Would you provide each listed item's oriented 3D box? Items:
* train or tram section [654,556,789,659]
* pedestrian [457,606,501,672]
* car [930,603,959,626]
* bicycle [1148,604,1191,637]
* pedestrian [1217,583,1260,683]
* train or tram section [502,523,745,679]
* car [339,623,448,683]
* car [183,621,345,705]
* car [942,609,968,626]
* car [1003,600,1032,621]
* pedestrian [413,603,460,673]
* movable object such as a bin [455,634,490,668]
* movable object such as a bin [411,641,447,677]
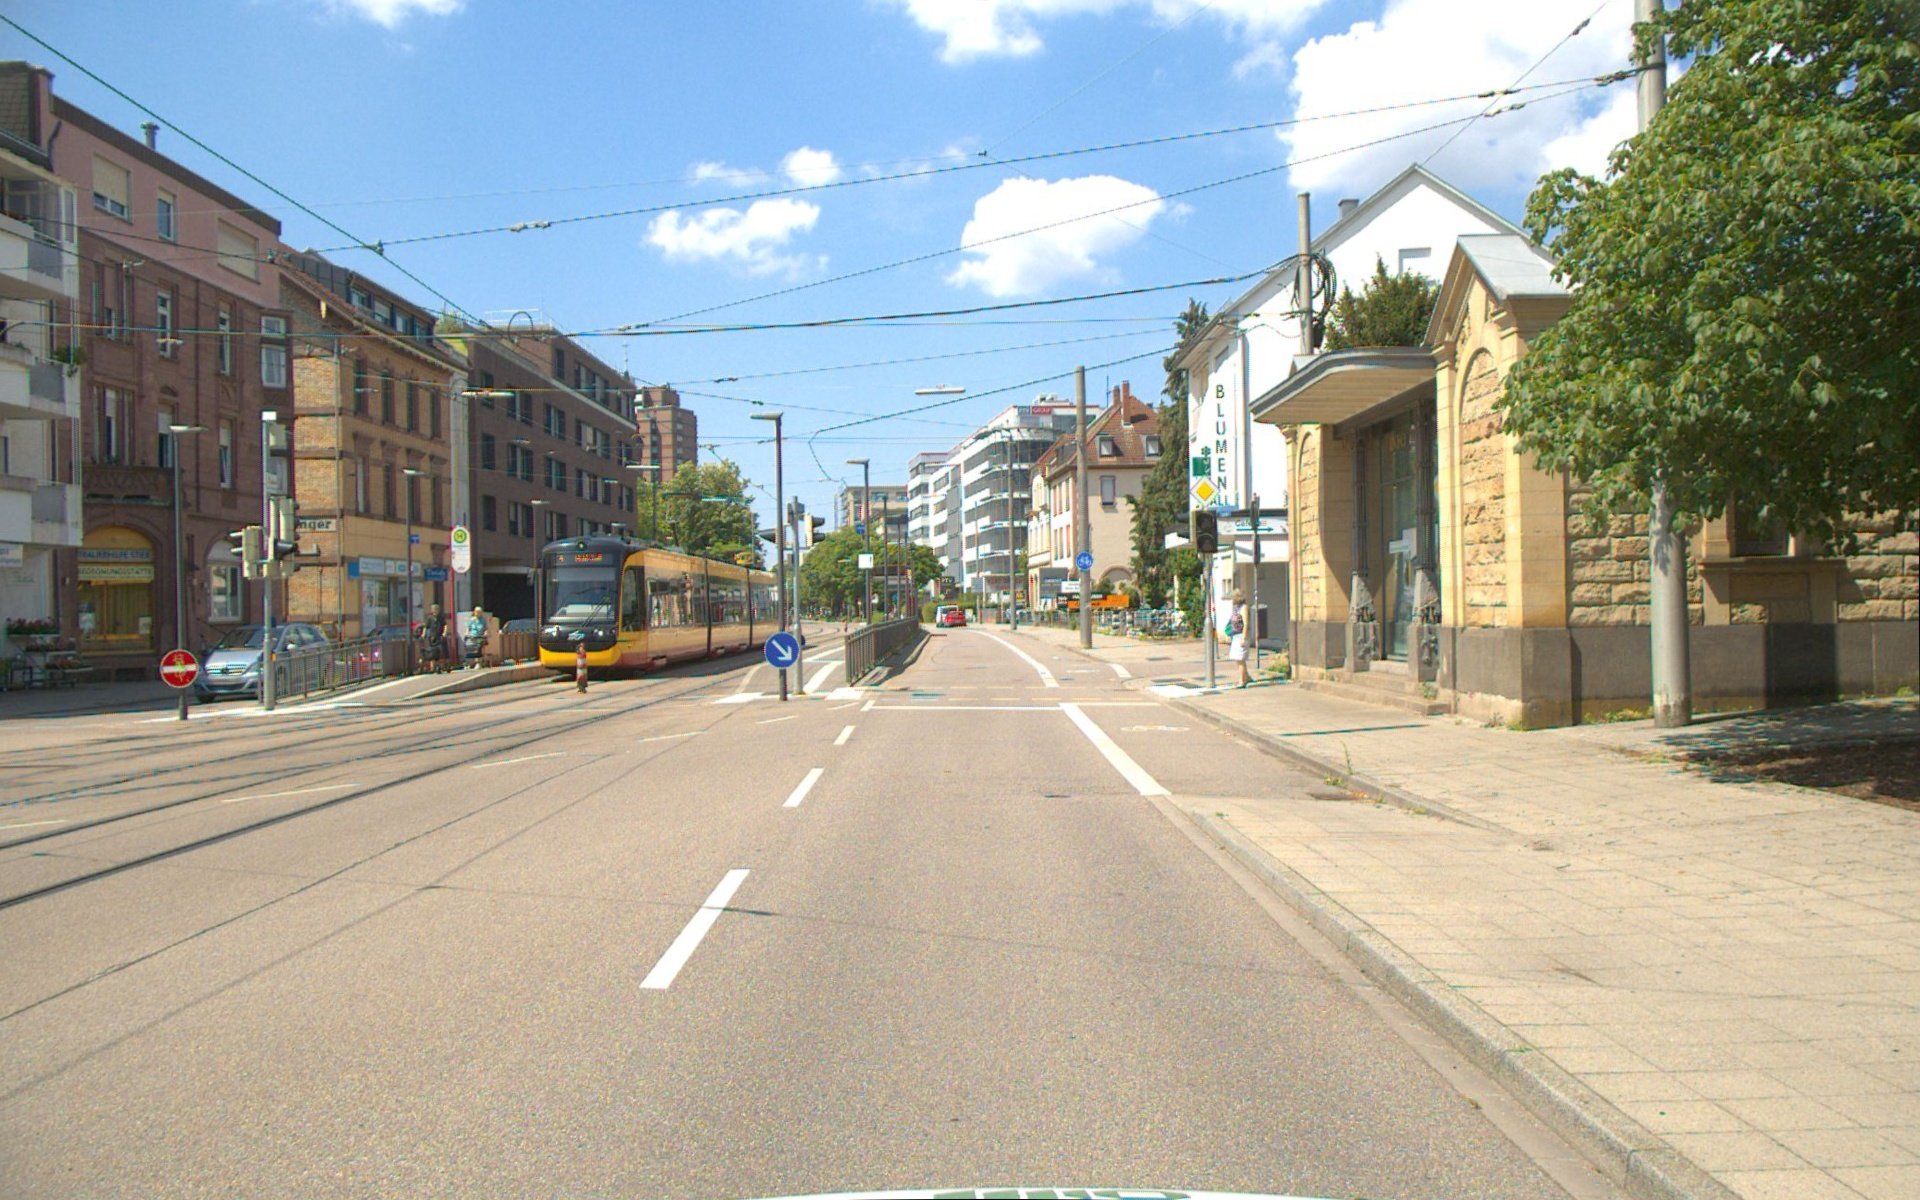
[{"bbox_3d":[-9.499,0.349,68.164,3.169,3.629,16.346,-2,-1,0],"label":"train or tram section"},{"bbox_3d":[-11.873,0.959,40.858,0.769,1.587,0.920,-2,-1,-1],"label":"pedestrian"},{"bbox_3d":[-1.514,1.374,157.721,1.956,2.026,5.504,-3,0,-8],"label":"car"},{"bbox_3d":[7.667,0.757,60.631,1.500,1.105,0.430,-3,-1,6],"label":"bicycle"},{"bbox_3d":[4.829,0.560,28.663,0.551,1.695,0.681,-2,0,22],"label":"pedestrian"},{"bbox_3d":[-9.395,0.138,49.883,3.184,3.629,20.497,-2,-1,0],"label":"train or tram section"},{"bbox_3d":[-15.420,1.407,45.234,1.621,1.470,3.853,-2,0,0],"label":"car"},{"bbox_3d":[-15.297,1.328,36.628,1.700,1.644,4.604,-2,0,-1],"label":"car"},{"bbox_3d":[-0.508,1.584,151.195,1.955,1.467,4.011,-1,0,-6],"label":"car"},{"bbox_3d":[4.930,0.913,141.431,1.842,1.652,4.634,-4,0,-5],"label":"car"},{"bbox_3d":[-12.172,0.875,38.489,0.769,1.587,0.920,-2,-1,-1],"label":"pedestrian"},{"bbox_3d":[-11.870,1.240,40.307,0.661,0.794,0.619,-2,0,-2],"label":"movable object such as a bin"},{"bbox_3d":[-12.202,1.357,38.018,0.661,0.794,0.538,-2,0,-2],"label":"movable object such as a bin"}]
